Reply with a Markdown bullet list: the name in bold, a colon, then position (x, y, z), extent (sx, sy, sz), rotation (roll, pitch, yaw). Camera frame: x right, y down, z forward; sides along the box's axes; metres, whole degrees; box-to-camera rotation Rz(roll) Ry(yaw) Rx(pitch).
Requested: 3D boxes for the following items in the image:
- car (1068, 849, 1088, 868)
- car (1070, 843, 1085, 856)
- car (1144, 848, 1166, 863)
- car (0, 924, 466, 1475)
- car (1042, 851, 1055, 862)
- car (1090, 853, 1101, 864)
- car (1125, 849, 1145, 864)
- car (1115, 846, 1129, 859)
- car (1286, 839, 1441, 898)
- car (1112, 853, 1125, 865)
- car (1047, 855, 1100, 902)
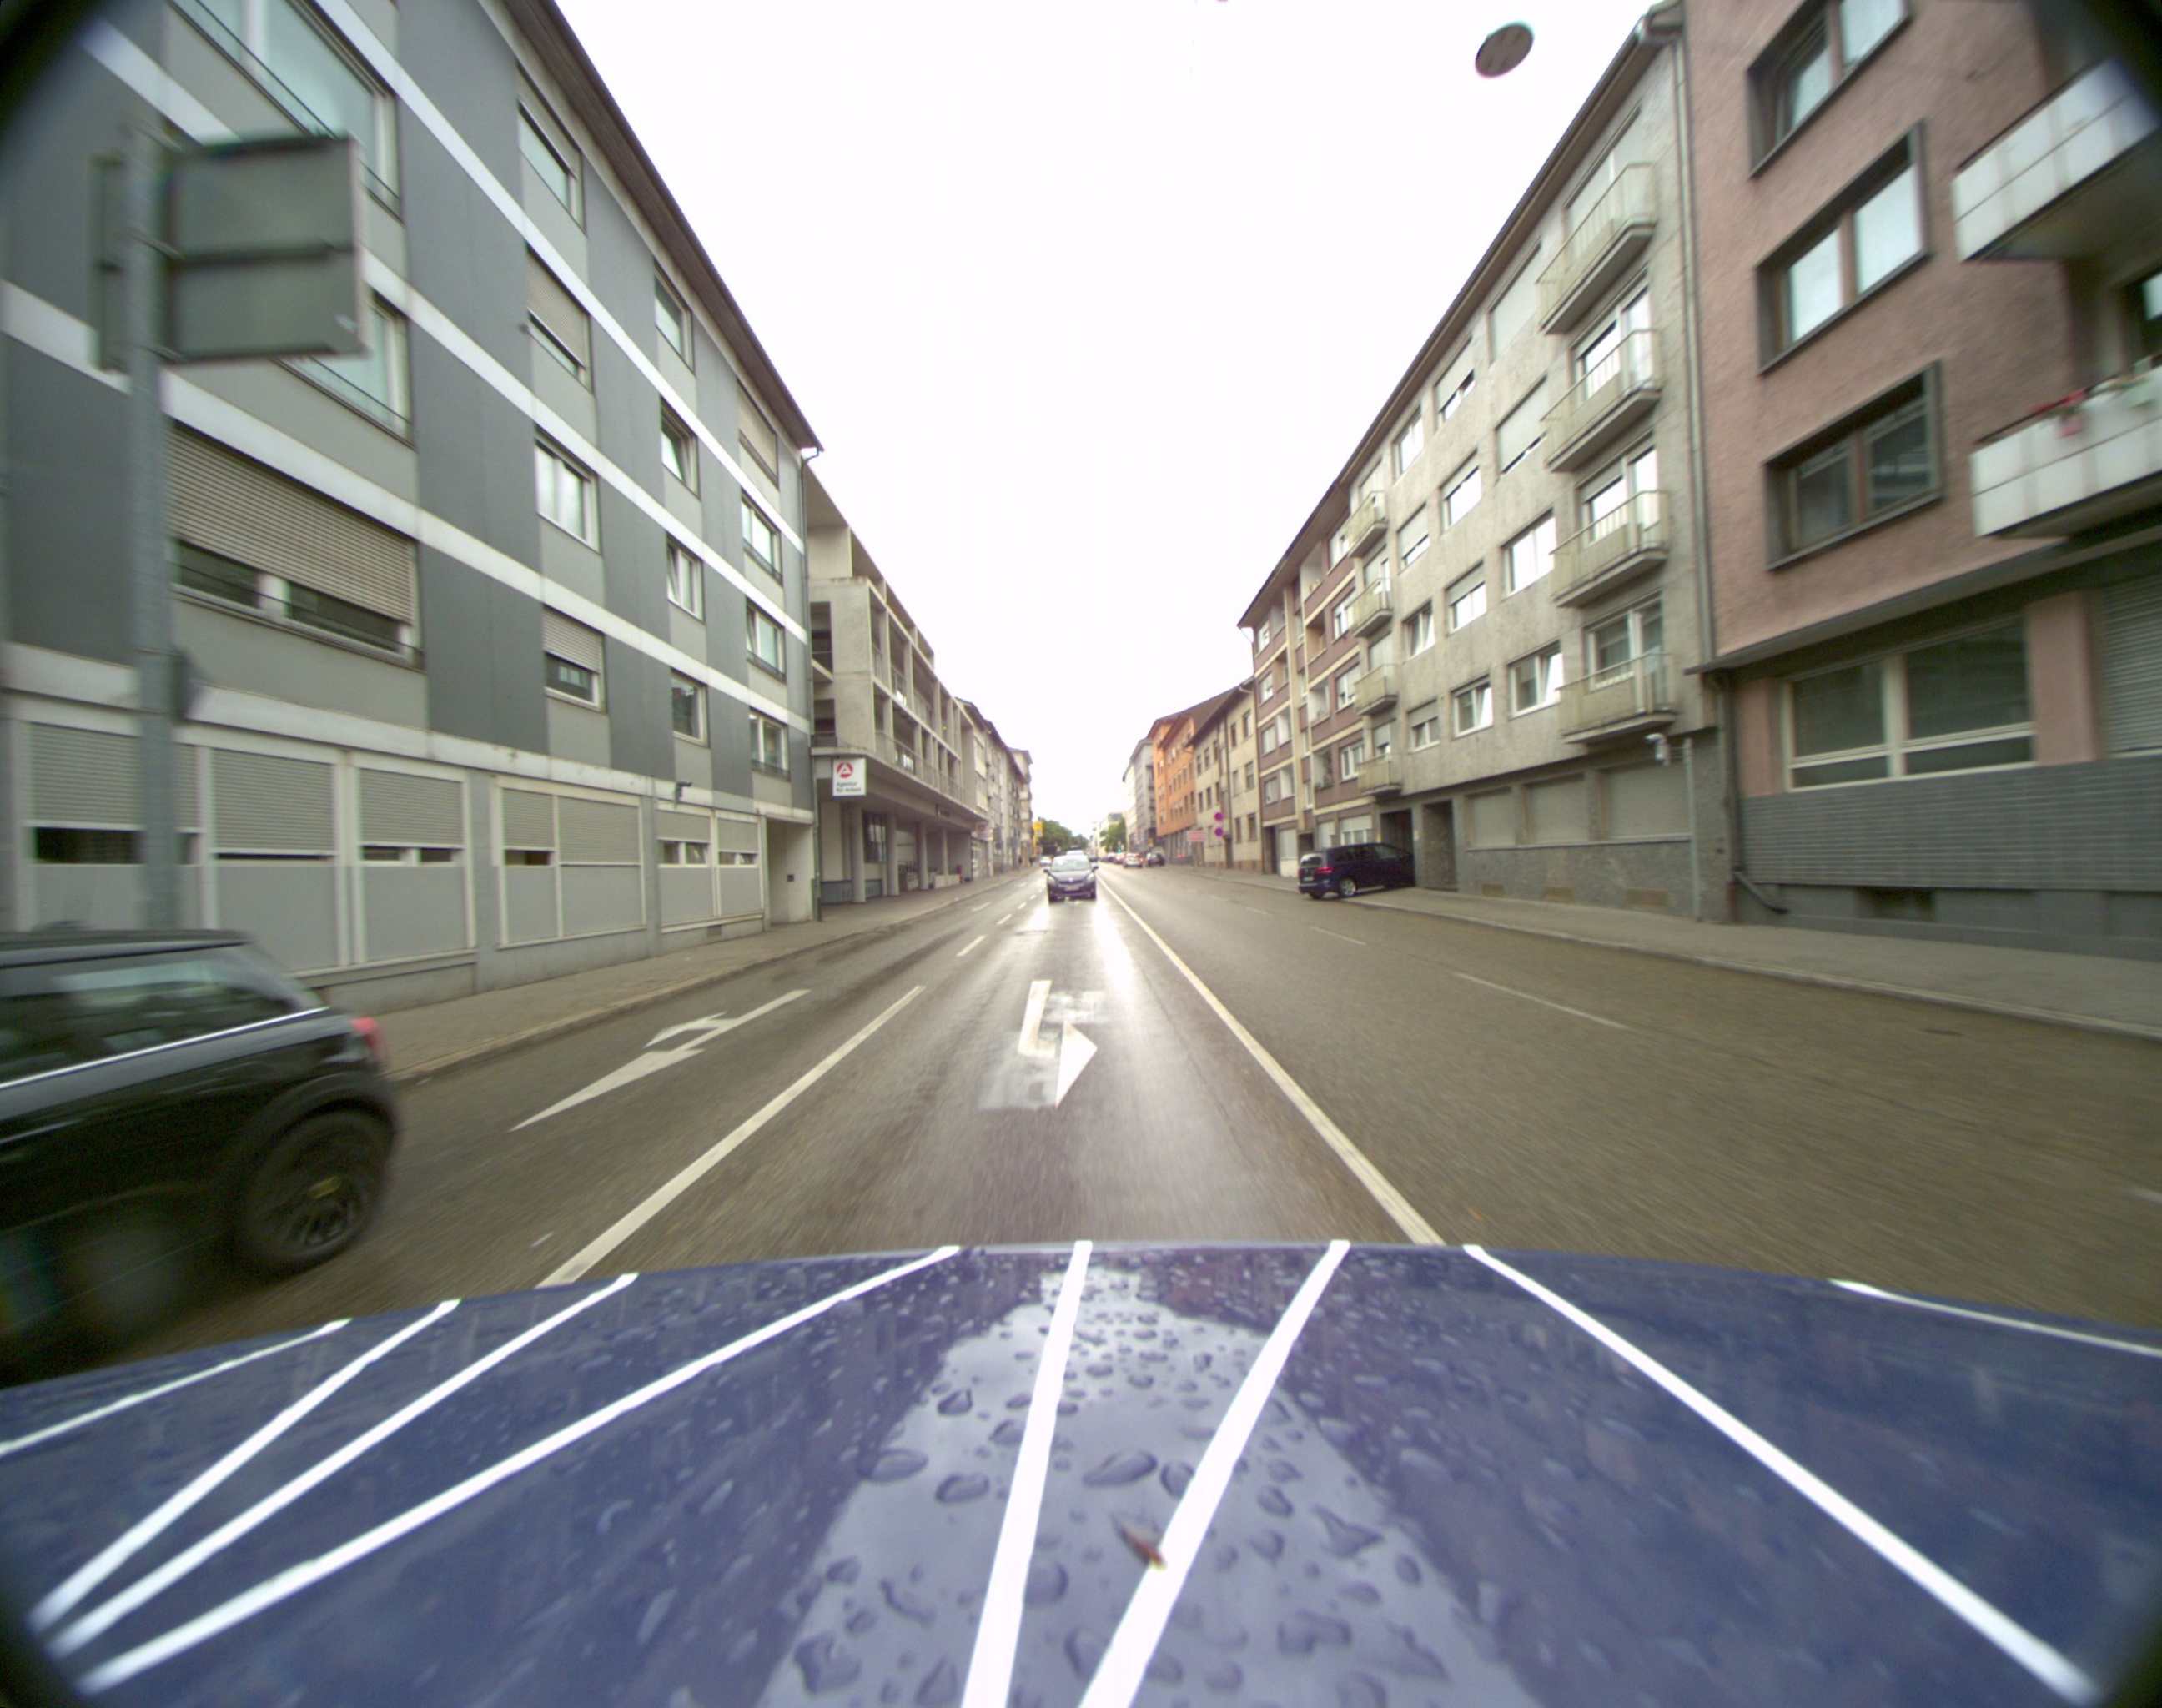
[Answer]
- **car**: position (-0.254, 0.438, 74.343), extent (1.722, 1.652, 3.679), rotation (-4, 1, 2)
- **car**: position (-0.457, -0.631, 101.968), extent (1.851, 1.652, 3.679), rotation (-4, 1, 2)
- **car**: position (7.884, 0.162, 81.430), extent (1.708, 1.447, 3.804), rotation (-4, 1, -3)
- **car**: position (-3.949, 1.106, 1.796), extent (1.665, 1.412, 4.071), rotation (-2, 1, -1)
- **car**: position (-5.253, 0.382, 124.219), extent (1.722, 1.652, 3.678), rotation (-4, 1, 1)
- **car**: position (2.562, 0.813, 133.069), extent (1.722, 1.652, 3.678), rotation (-4, 1, 1)
- **car**: position (5.520, 0.273, 77.987), extent (1.732, 1.452, 4.071), rotation (0, 1, -1)
- **car**: position (5.510, -0.211, 102.523), extent (1.722, 1.652, 3.678), rotation (-4, 1, 1)
- **car**: position (8.992, 0.425, 24.260), extent (4.312, 1.566, 1.997), rotation (-3, 1, -20)
- **car**: position (5.744, 0.732, 115.913), extent (1.722, 1.652, 3.678), rotation (-4, 1, 1)
- **car**: position (-0.284, 0.854, 28.701), extent (1.732, 1.472, 4.071), rotation (-5, 1, -1)
